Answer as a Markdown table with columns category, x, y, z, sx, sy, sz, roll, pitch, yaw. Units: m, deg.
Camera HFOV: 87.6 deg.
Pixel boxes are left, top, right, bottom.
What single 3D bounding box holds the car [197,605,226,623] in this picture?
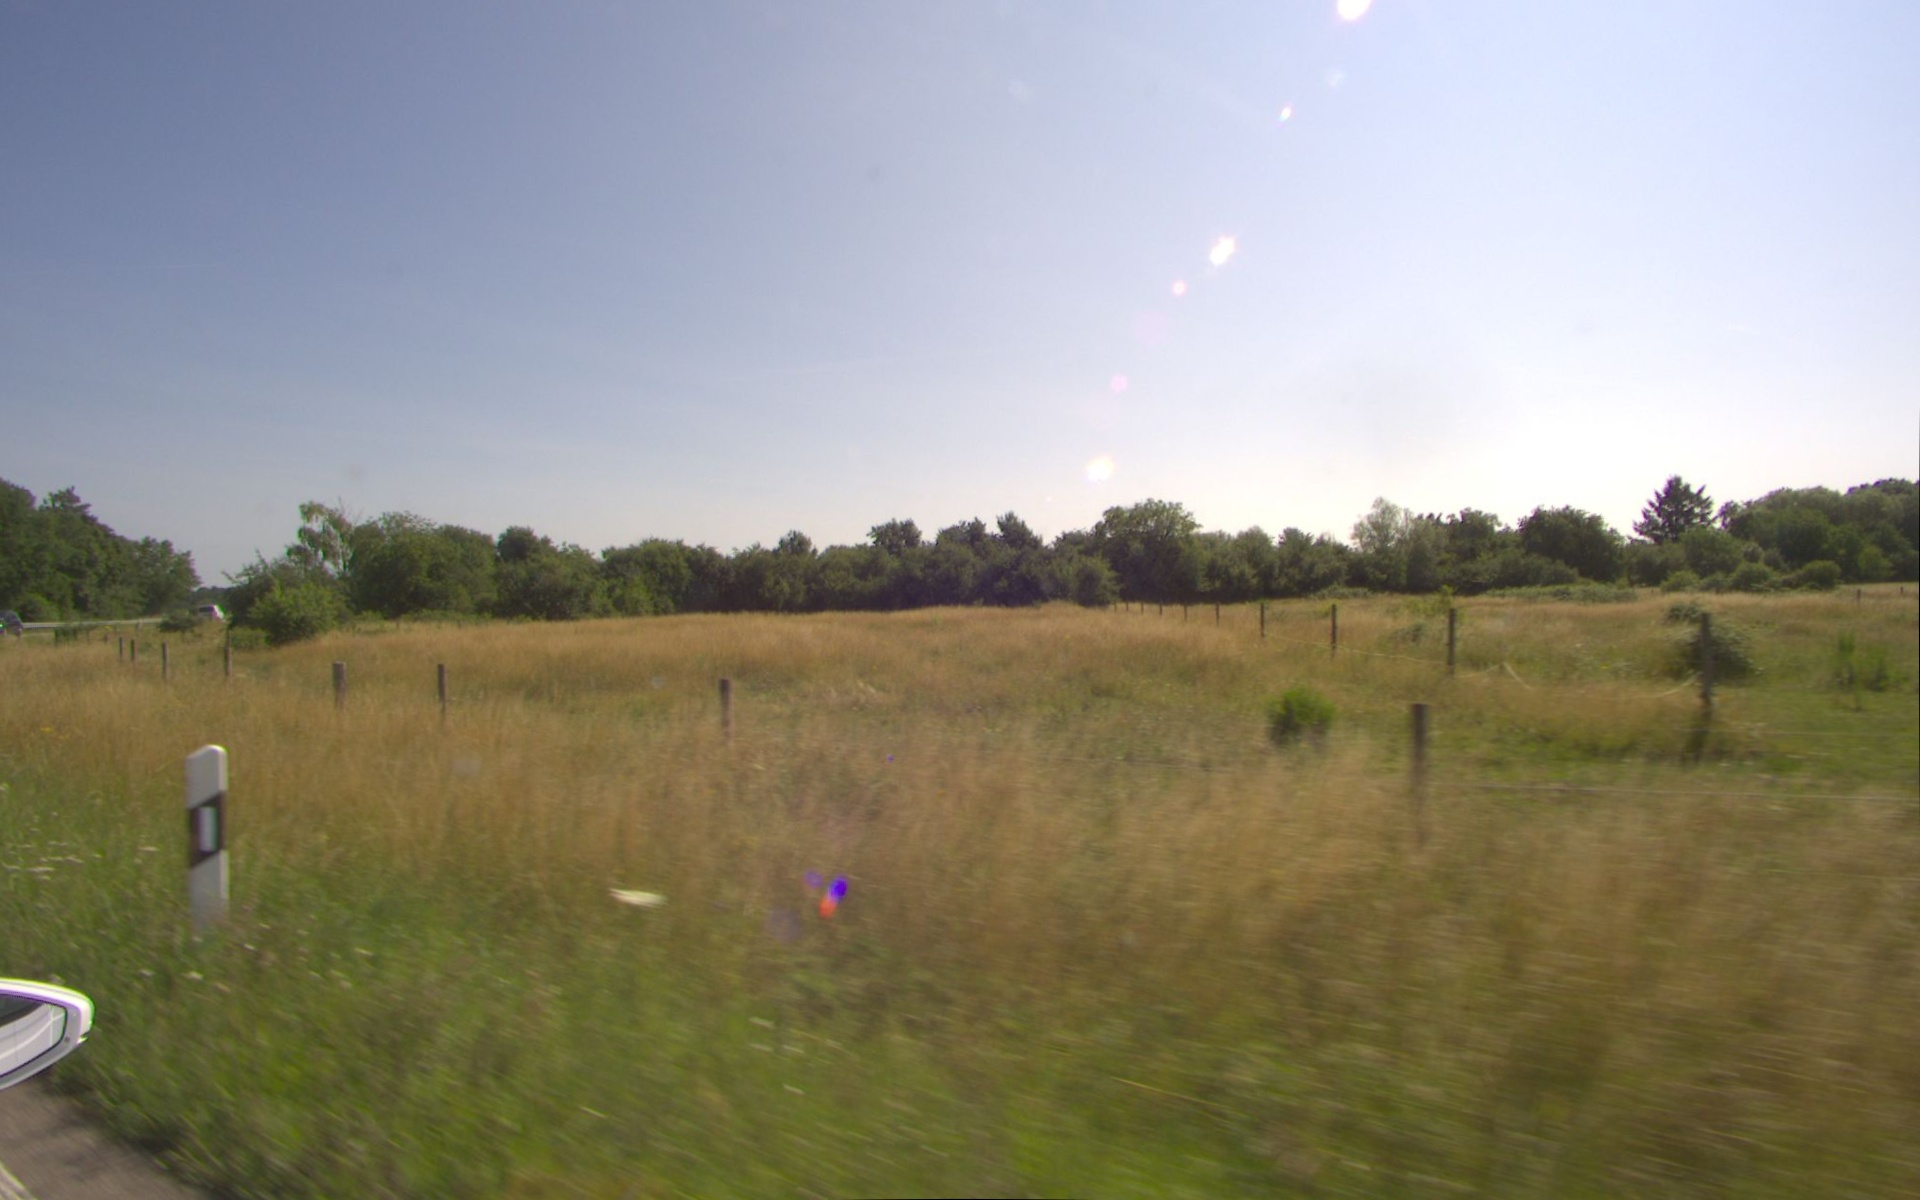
| category | x | y | z | sx | sy | sz | roll | pitch | yaw |
| --- | --- | --- | --- | --- | --- | --- | --- | --- | --- |
| car | -81.837 | 1.568 | 109.477 | 1.939 | 1.825 | 4.142 | 1 | -2 | -28 |

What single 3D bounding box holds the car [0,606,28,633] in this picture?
| category | x | y | z | sx | sy | sz | roll | pitch | yaw |
| --- | --- | --- | --- | --- | --- | --- | --- | --- | --- |
| car | -59.758 | 1.242 | 62.140 | 1.763 | 1.652 | 4.142 | 1 | -2 | -28 |
